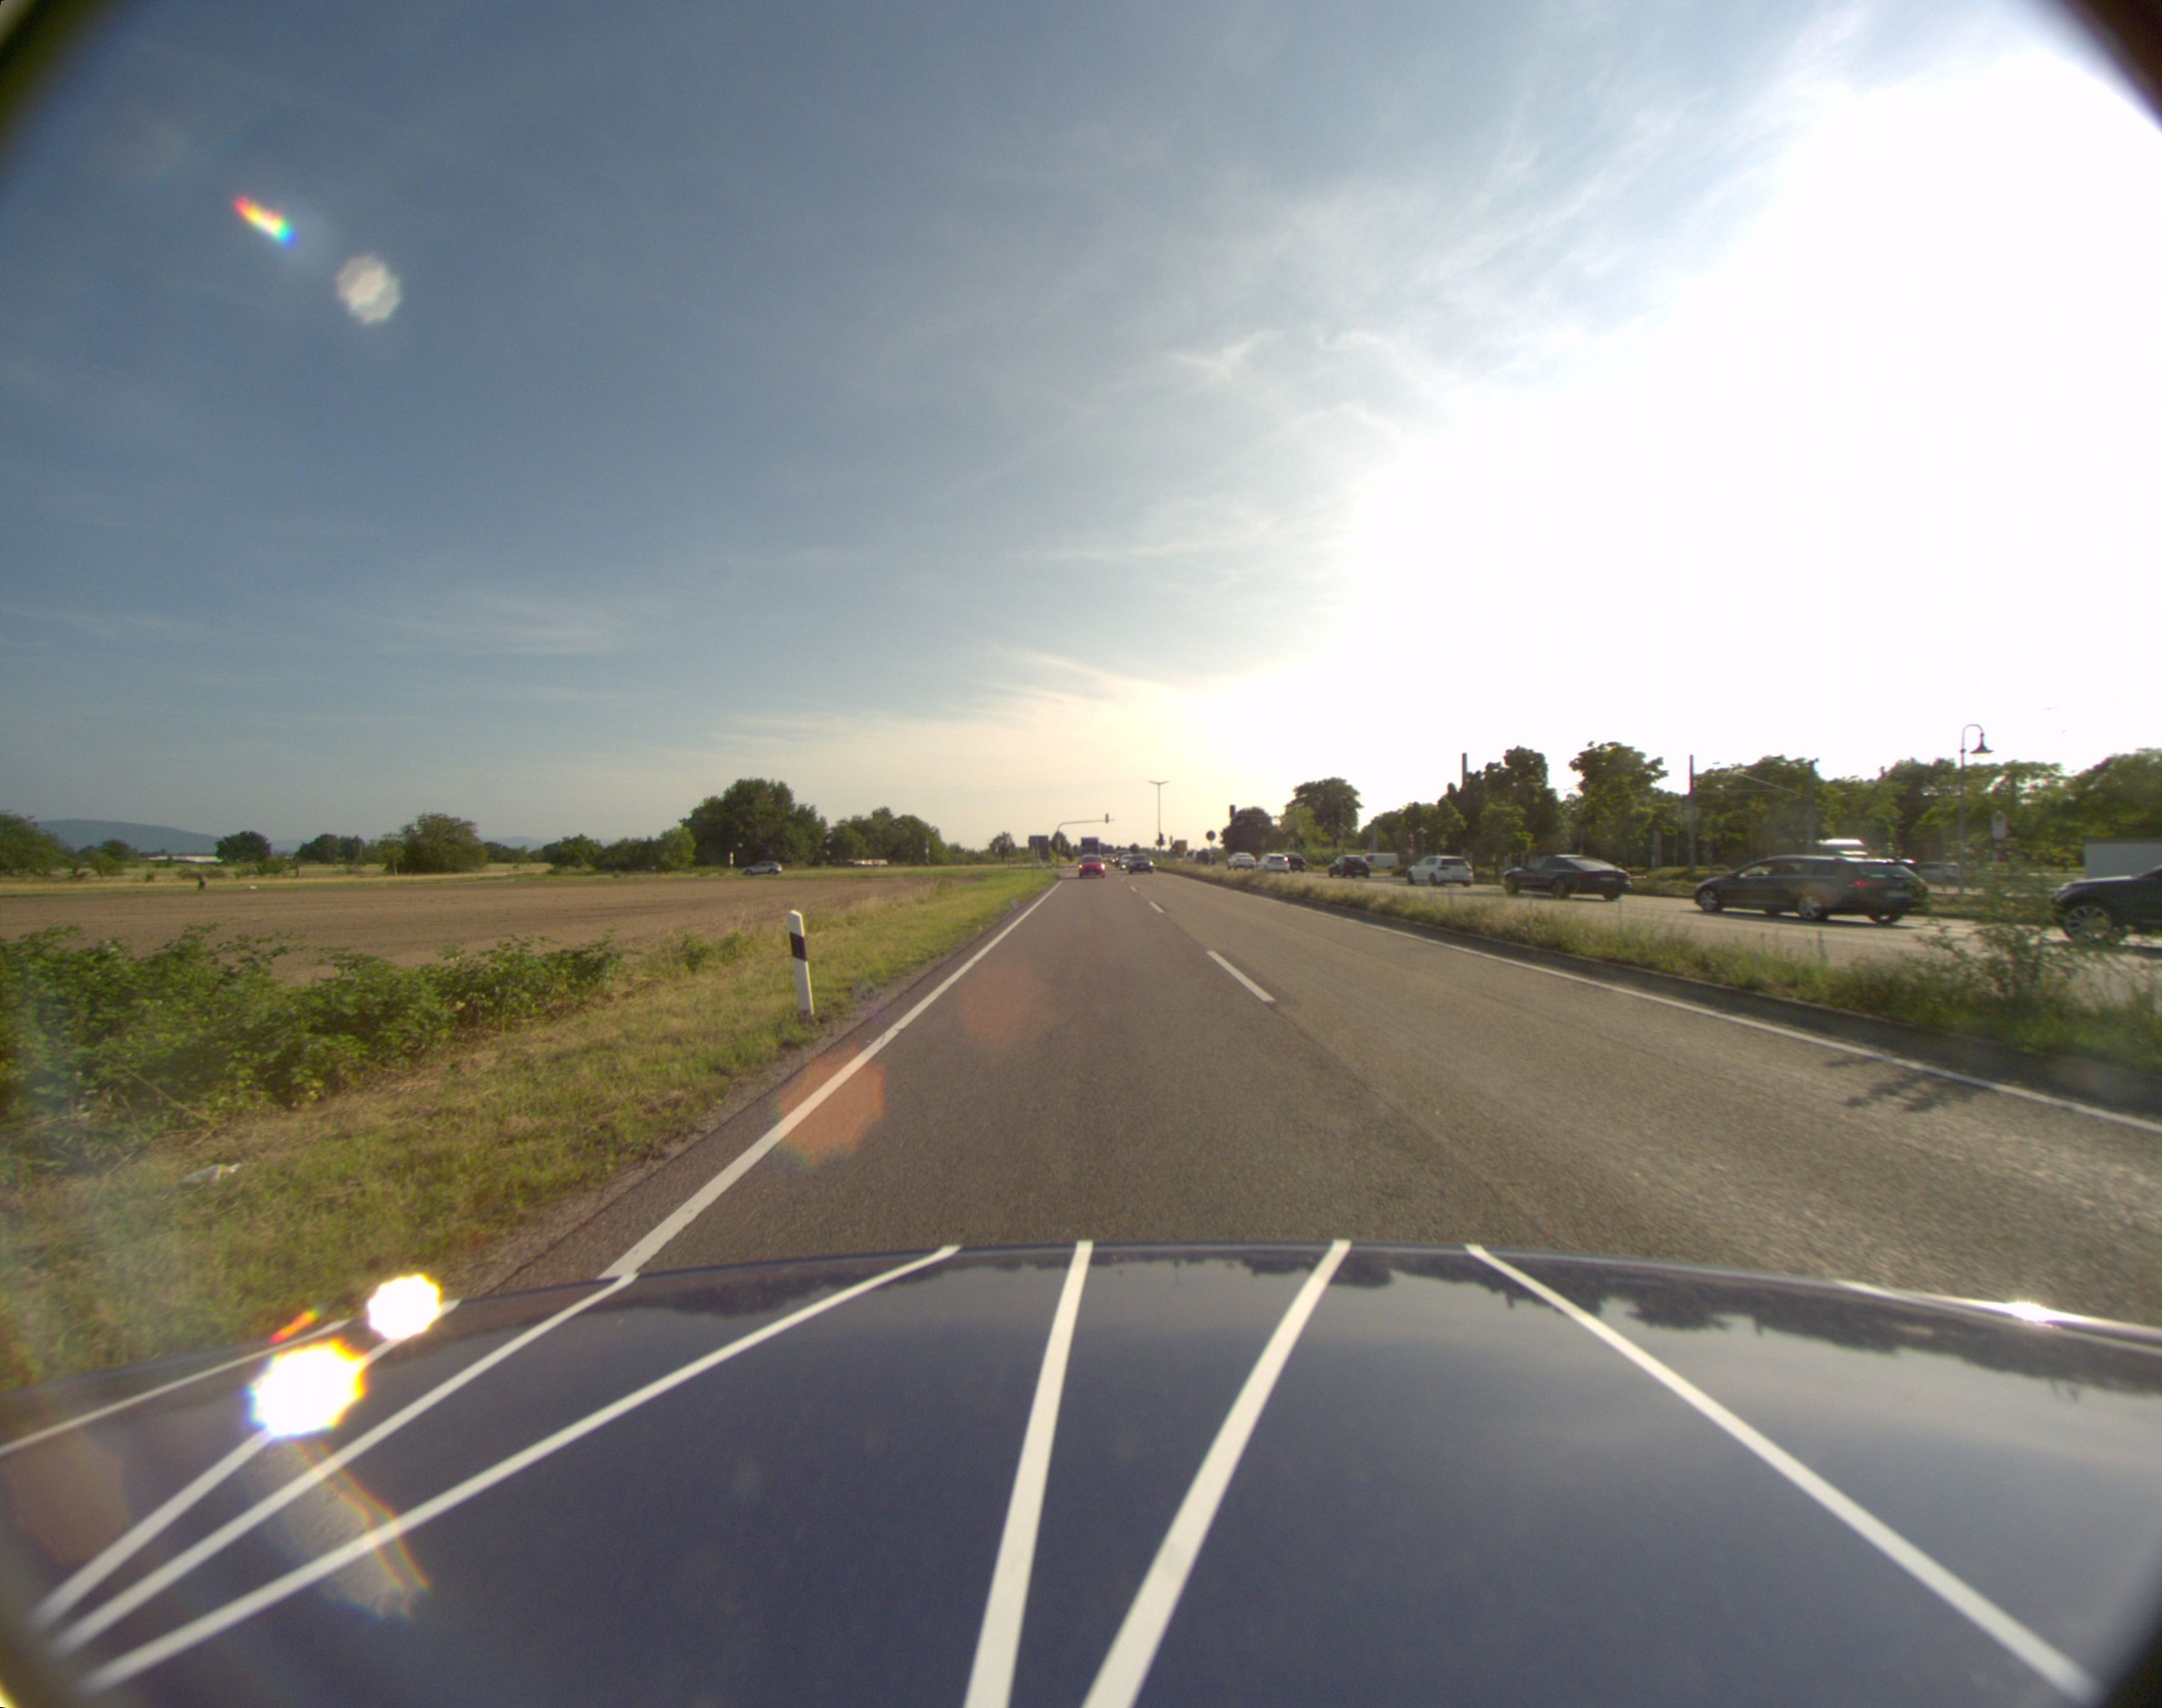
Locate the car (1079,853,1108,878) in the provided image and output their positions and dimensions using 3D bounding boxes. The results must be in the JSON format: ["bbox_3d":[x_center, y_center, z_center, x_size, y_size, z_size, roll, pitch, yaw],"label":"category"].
[{"bbox_3d":[0.839,0.682,48.955,1.735,1.467,4.000,-2,0,1],"label":"car"}]

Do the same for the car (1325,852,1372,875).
[{"bbox_3d":[17.167,0.554,48.901,1.664,1.373,4.000,1,0,1],"label":"car"}]

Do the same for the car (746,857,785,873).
[{"bbox_3d":[-37.309,1.304,89.941,4.001,1.641,1.997,-2,1,-14],"label":"car"}]

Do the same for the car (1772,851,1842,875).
[{"bbox_3d":[49.246,0.604,51.519,4.003,1.412,1.831,-2,0,-20],"label":"car"}]

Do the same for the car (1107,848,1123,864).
[{"bbox_3d":[3.981,0.190,89.486,1.636,1.833,4.000,-2,0,1],"label":"car"}]

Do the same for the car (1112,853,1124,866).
[{"bbox_3d":[5.220,0.757,107.337,1.636,1.833,4.000,-2,0,1],"label":"car"}]

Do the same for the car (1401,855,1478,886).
[{"bbox_3d":[17.395,0.748,37.125,1.664,1.373,4.468,1,0,1],"label":"car"}]

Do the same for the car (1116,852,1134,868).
[{"bbox_3d":[4.215,0.524,73.302,1.636,1.442,4.000,-2,0,1],"label":"car"}]

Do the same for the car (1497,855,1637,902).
[{"bbox_3d":[16.484,0.766,26.151,1.664,1.407,4.975,1,0,1],"label":"car"}]

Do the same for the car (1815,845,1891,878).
[{"bbox_3d":[47.911,0.476,47.173,3.678,1.866,1.831,-2,1,-17],"label":"car"}]

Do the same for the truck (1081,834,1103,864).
[{"bbox_3d":[1.566,-0.690,104.358,2.849,3.896,10.104,-2,0,1],"label":"truck"}]

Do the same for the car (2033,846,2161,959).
[{"bbox_3d":[16.778,0.735,10.609,1.664,1.677,4.229,1,0,1],"label":"car"}]

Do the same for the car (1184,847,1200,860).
[{"bbox_3d":[18.421,-0.075,126.294,1.998,1.961,5.079,2,0,1],"label":"car"}]

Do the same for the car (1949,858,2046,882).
[{"bbox_3d":[64.040,1.101,53.155,2.003,1.529,3.991,-2,0,-28],"label":"car"}]

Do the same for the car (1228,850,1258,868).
[{"bbox_3d":[14.157,0.402,66.672,1.756,1.499,4.583,1,0,1],"label":"car"}]

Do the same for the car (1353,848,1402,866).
[{"bbox_3d":[35.154,0.333,90.253,4.843,1.876,2.253,-2,1,-4],"label":"car"}]

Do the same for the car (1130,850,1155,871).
[{"bbox_3d":[4.616,0.479,57.817,1.636,1.500,4.000,-2,0,1],"label":"car"}]

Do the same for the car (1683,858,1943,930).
[{"bbox_3d":[16.551,0.821,17.586,1.664,1.373,4.541,1,0,1],"label":"car"}]

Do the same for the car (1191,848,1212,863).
[{"bbox_3d":[14.250,0.163,90.050,1.862,1.735,4.529,1,0,1],"label":"car"}]

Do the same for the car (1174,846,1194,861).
[{"bbox_3d":[13.764,-0.058,101.907,1.998,1.818,5.079,2,0,1],"label":"car"}]

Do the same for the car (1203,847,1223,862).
[{"bbox_3d":[19.105,0.071,109.970,1.998,1.961,5.079,2,0,1],"label":"car"}]

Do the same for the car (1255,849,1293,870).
[{"bbox_3d":[14.431,0.403,56.902,1.823,1.461,4.294,1,0,1],"label":"car"}]

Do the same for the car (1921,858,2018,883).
[{"bbox_3d":[61.040,1.122,52.266,2.003,1.529,3.991,-2,0,-28],"label":"car"}]

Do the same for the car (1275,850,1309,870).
[{"bbox_3d":[18.082,0.503,65.247,1.801,1.580,4.000,1,0,1],"label":"car"}]
